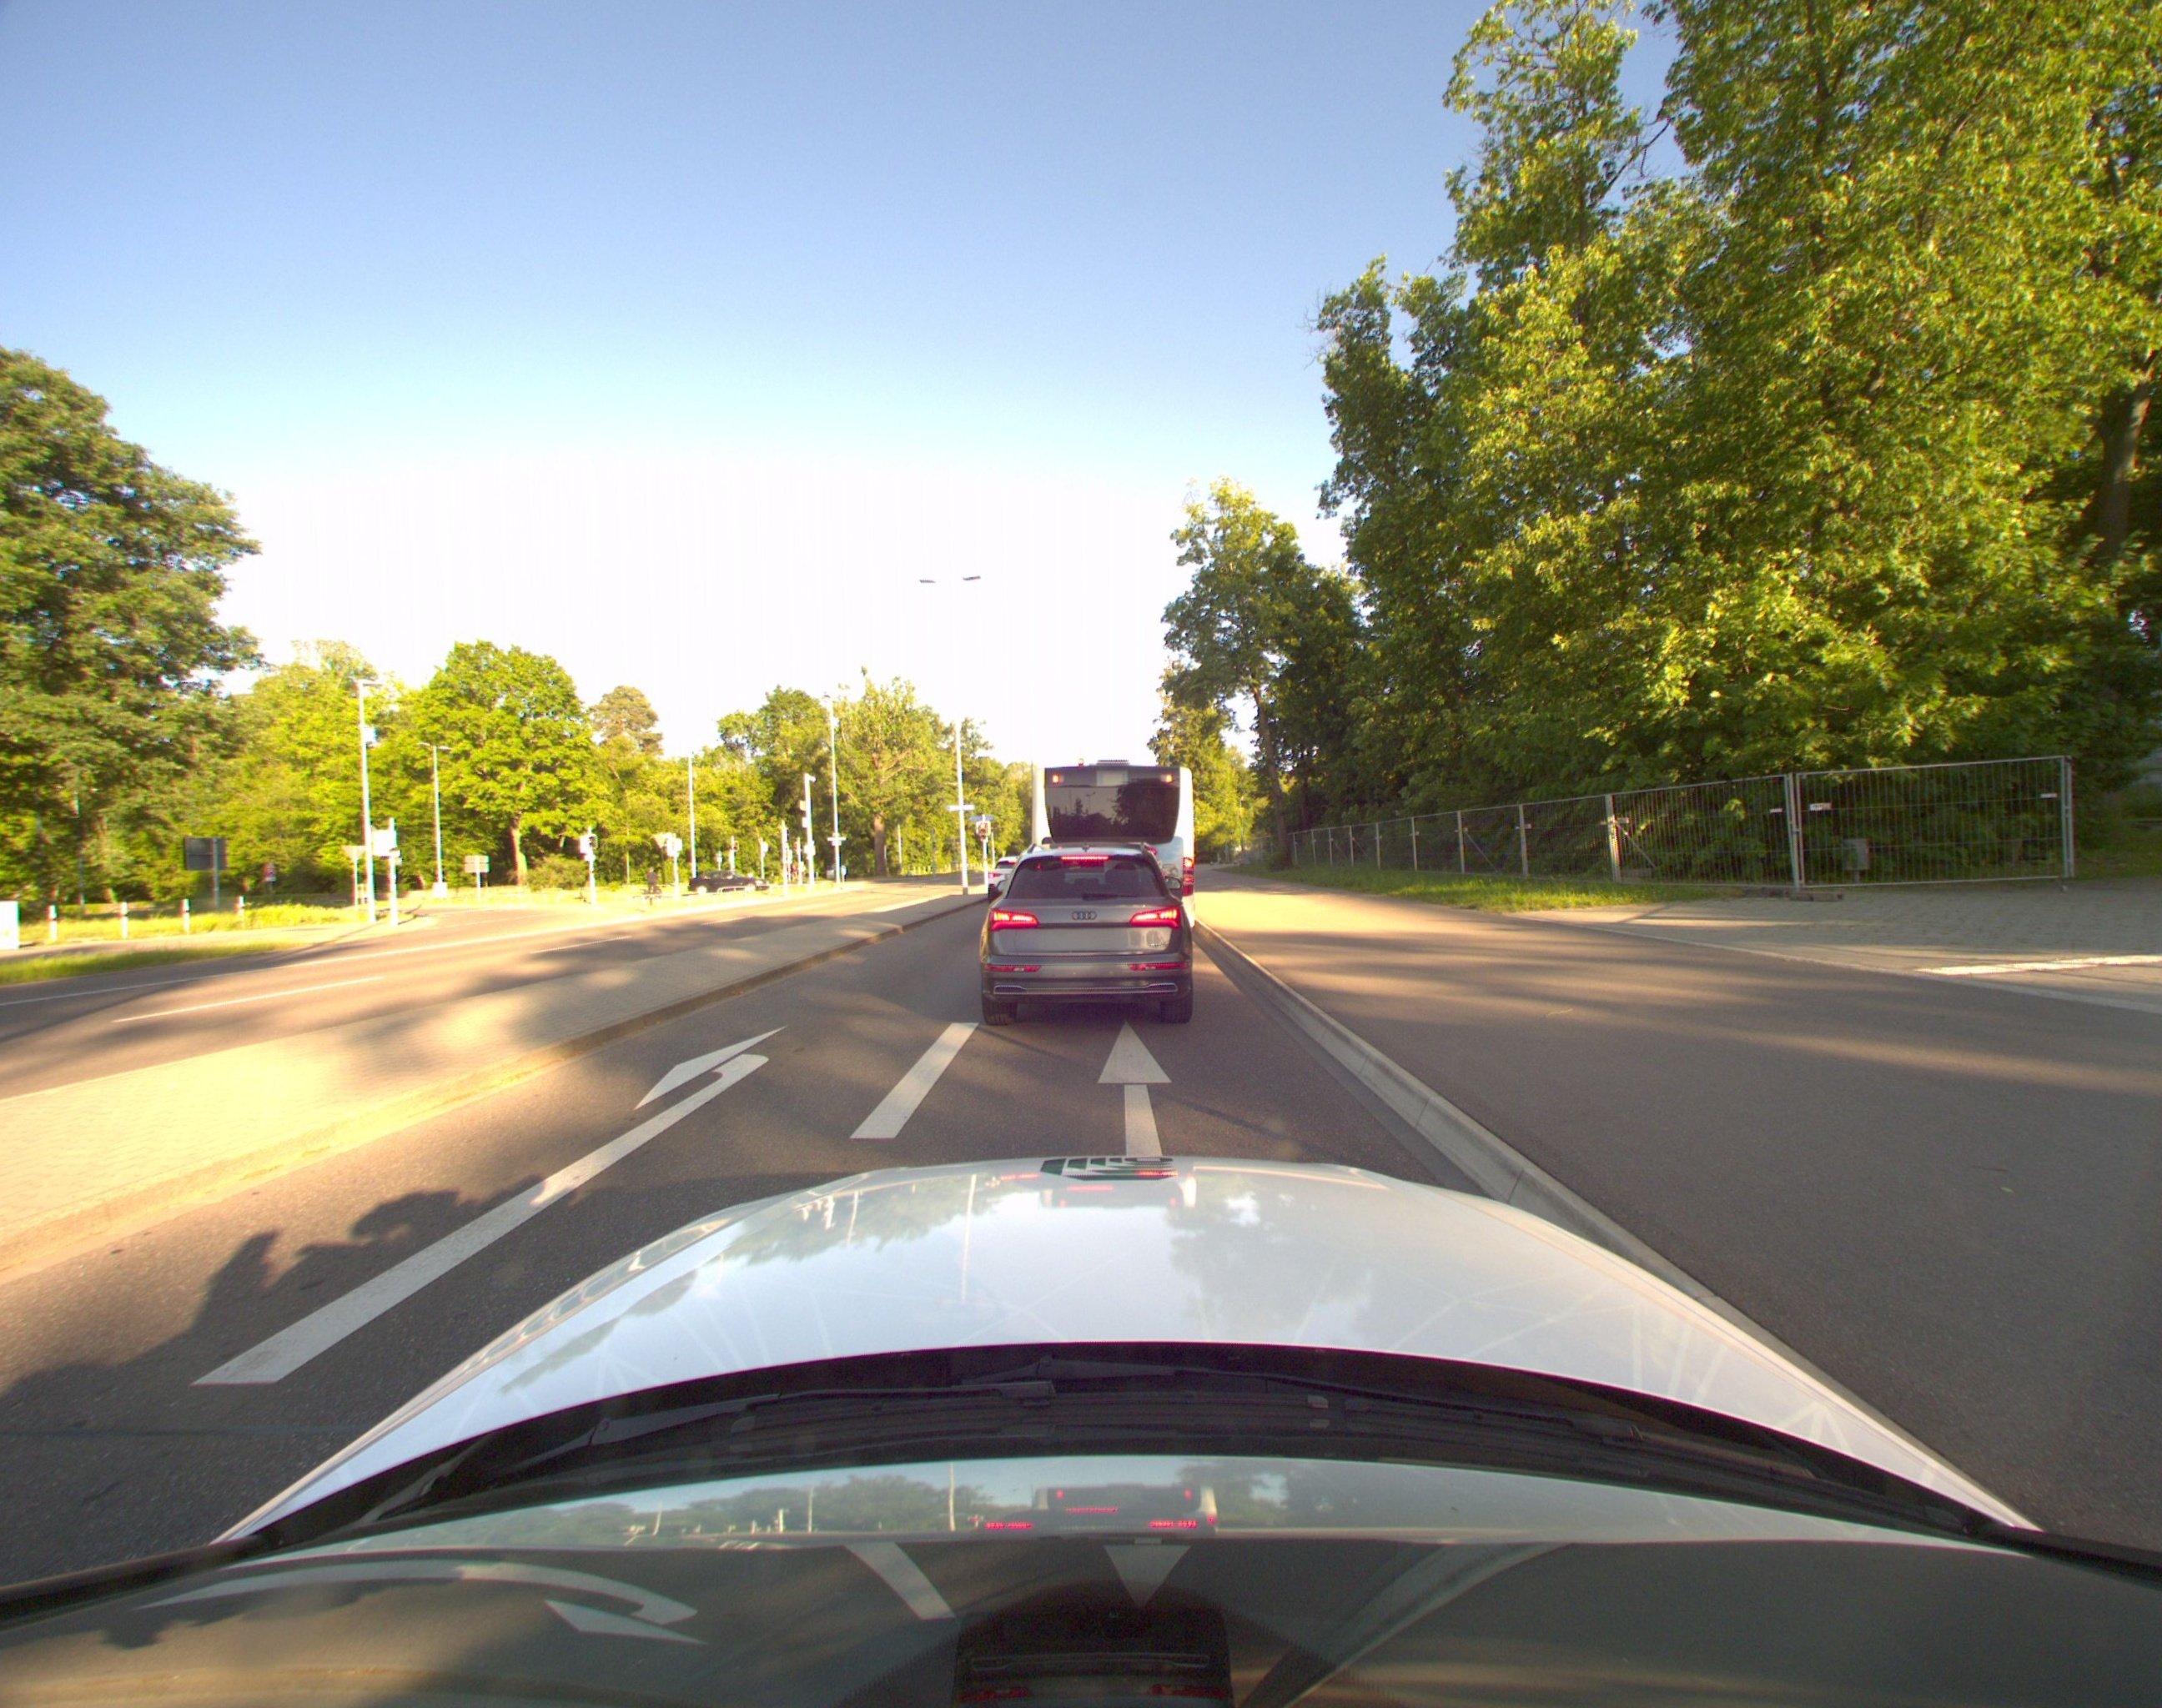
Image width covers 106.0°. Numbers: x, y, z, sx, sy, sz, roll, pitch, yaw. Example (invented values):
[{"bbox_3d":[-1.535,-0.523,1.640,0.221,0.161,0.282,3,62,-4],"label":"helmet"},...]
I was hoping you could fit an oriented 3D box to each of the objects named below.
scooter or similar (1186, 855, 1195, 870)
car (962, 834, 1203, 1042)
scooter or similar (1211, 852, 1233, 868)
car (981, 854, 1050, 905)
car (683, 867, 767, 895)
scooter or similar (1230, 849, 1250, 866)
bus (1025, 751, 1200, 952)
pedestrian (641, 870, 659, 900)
[{"bbox_3d":[10.826,0.830,80.550,0.507,1.444,2.020,-3,0,-3],"label":"scooter or similar"},{"bbox_3d":[0.075,0.669,8.459,1.891,1.632,4.002,-1,0,2],"label":"car"},{"bbox_3d":[13.468,0.566,77.720,2.025,1.444,0.601,-3,0,-23],"label":"scooter or similar"},{"bbox_3d":[-2.125,0.790,27.607,1.829,1.518,4.002,-3,0,2],"label":"car"},{"bbox_3d":[-20.756,1.581,47.608,4.094,1.387,1.750,-3,0,-4],"label":"car"},{"bbox_3d":[15.424,0.369,78.972,0.543,1.567,1.999,-3,0,-37],"label":"scooter or similar"},{"bbox_3d":[0.617,0.004,16.956,2.585,2.989,9.330,-1,-1,2],"label":"bus"},{"bbox_3d":[-22.710,1.643,42.925,0.652,1.560,0.533,-2,0,-41],"label":"pedestrian"}]
